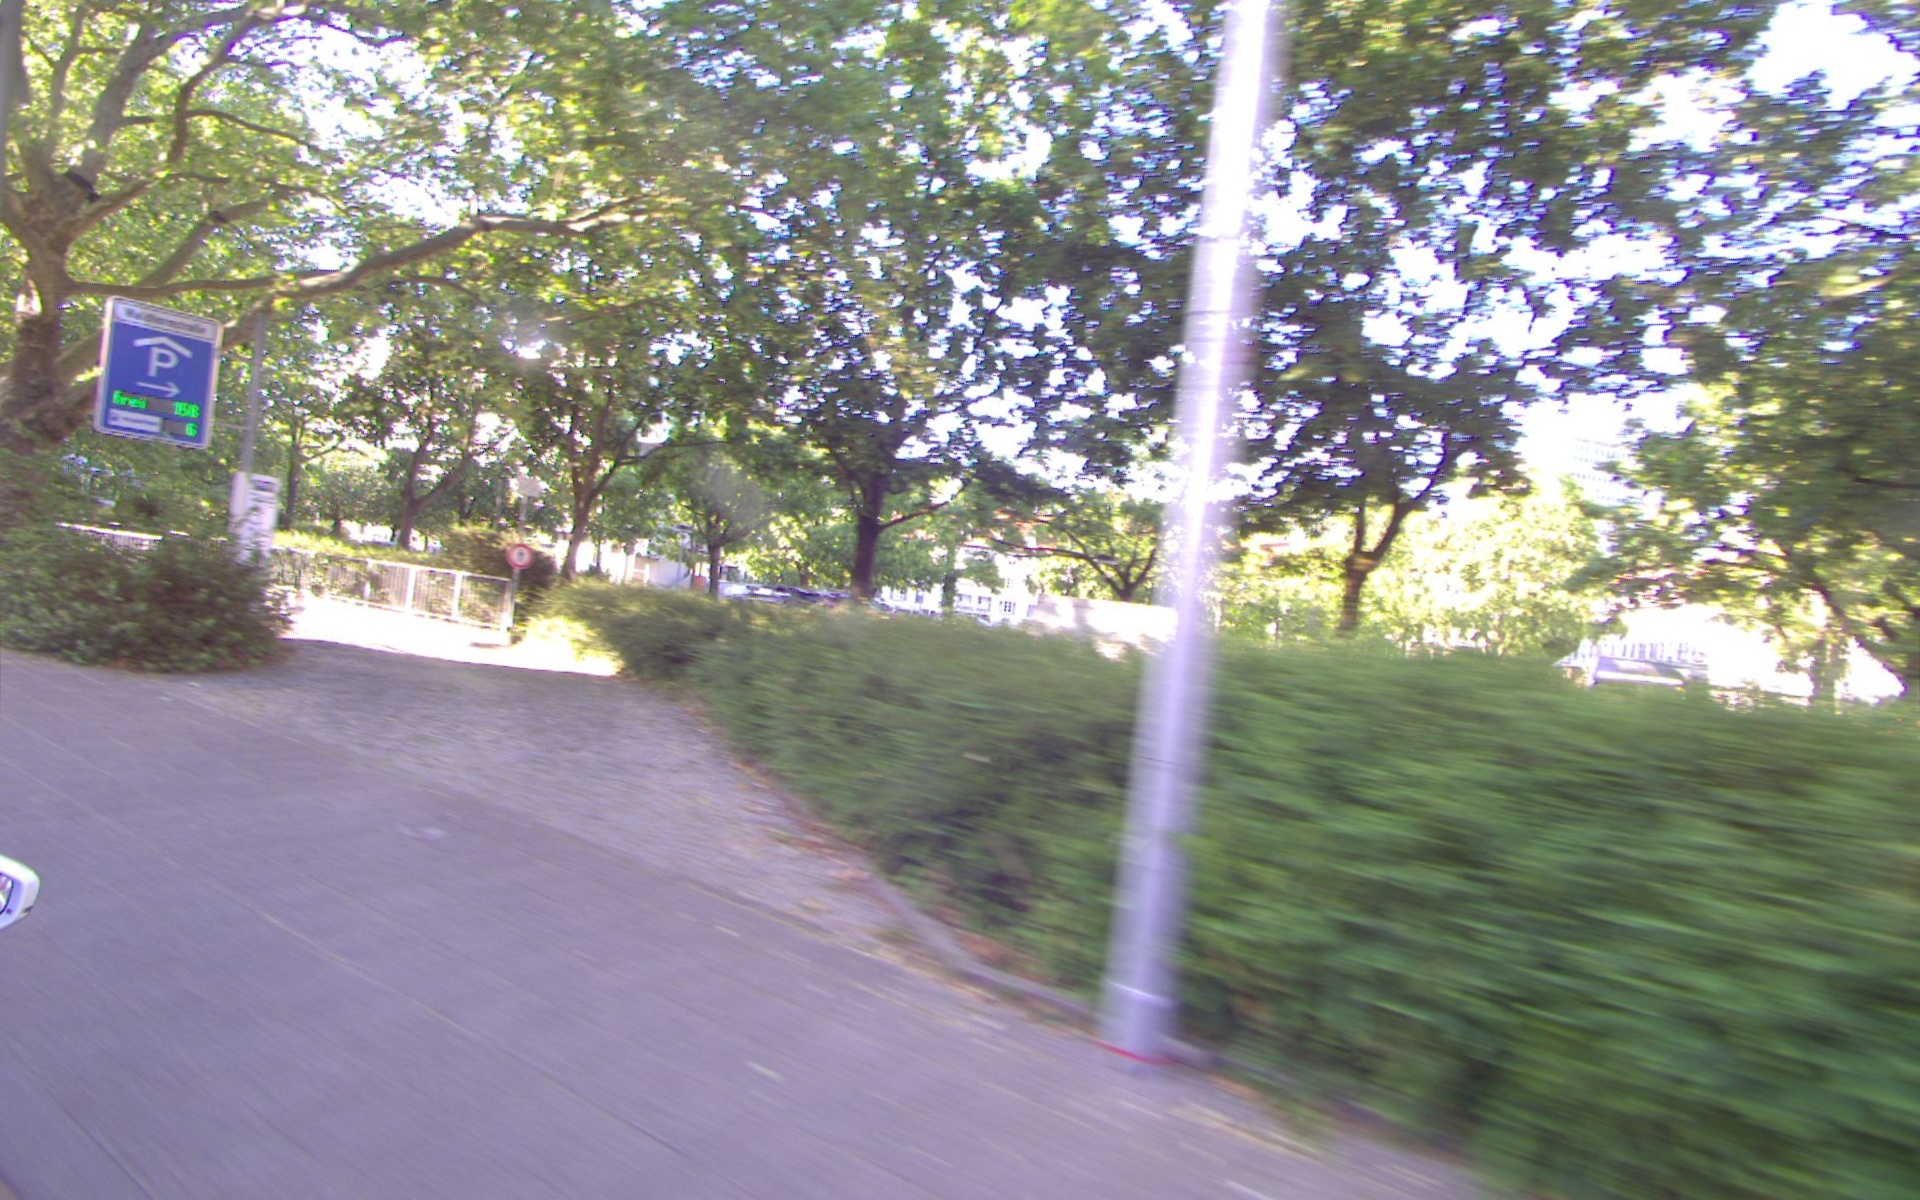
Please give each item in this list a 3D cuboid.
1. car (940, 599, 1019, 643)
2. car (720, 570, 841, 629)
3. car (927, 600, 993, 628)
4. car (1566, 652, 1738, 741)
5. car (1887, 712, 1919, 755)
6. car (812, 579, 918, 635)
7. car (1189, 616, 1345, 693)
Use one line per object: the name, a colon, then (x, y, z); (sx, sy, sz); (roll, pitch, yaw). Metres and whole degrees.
car: (1.118, 1.201, 57.861); (3.930, 2.039, 1.997); (7, 1, 27)
car: (-6.490, -0.021, 36.382); (3.931, 1.646, 1.761); (7, 0, 28)
car: (-0.036, 1.051, 77.630); (4.581, 1.492, 2.011); (7, -1, 33)
car: (26.498, 3.653, 38.806); (5.073, 2.605, 1.996); (7, 1, 31)
car: (46.888, 6.583, 48.069); (2.052, 1.810, 4.907); (6, 1, 23)
car: (-3.830, 0.267, 40.165); (3.935, 1.645, 1.550); (7, -1, 33)
car: (9.670, 1.704, 31.792); (4.239, 1.834, 1.784); (7, 0, 31)
